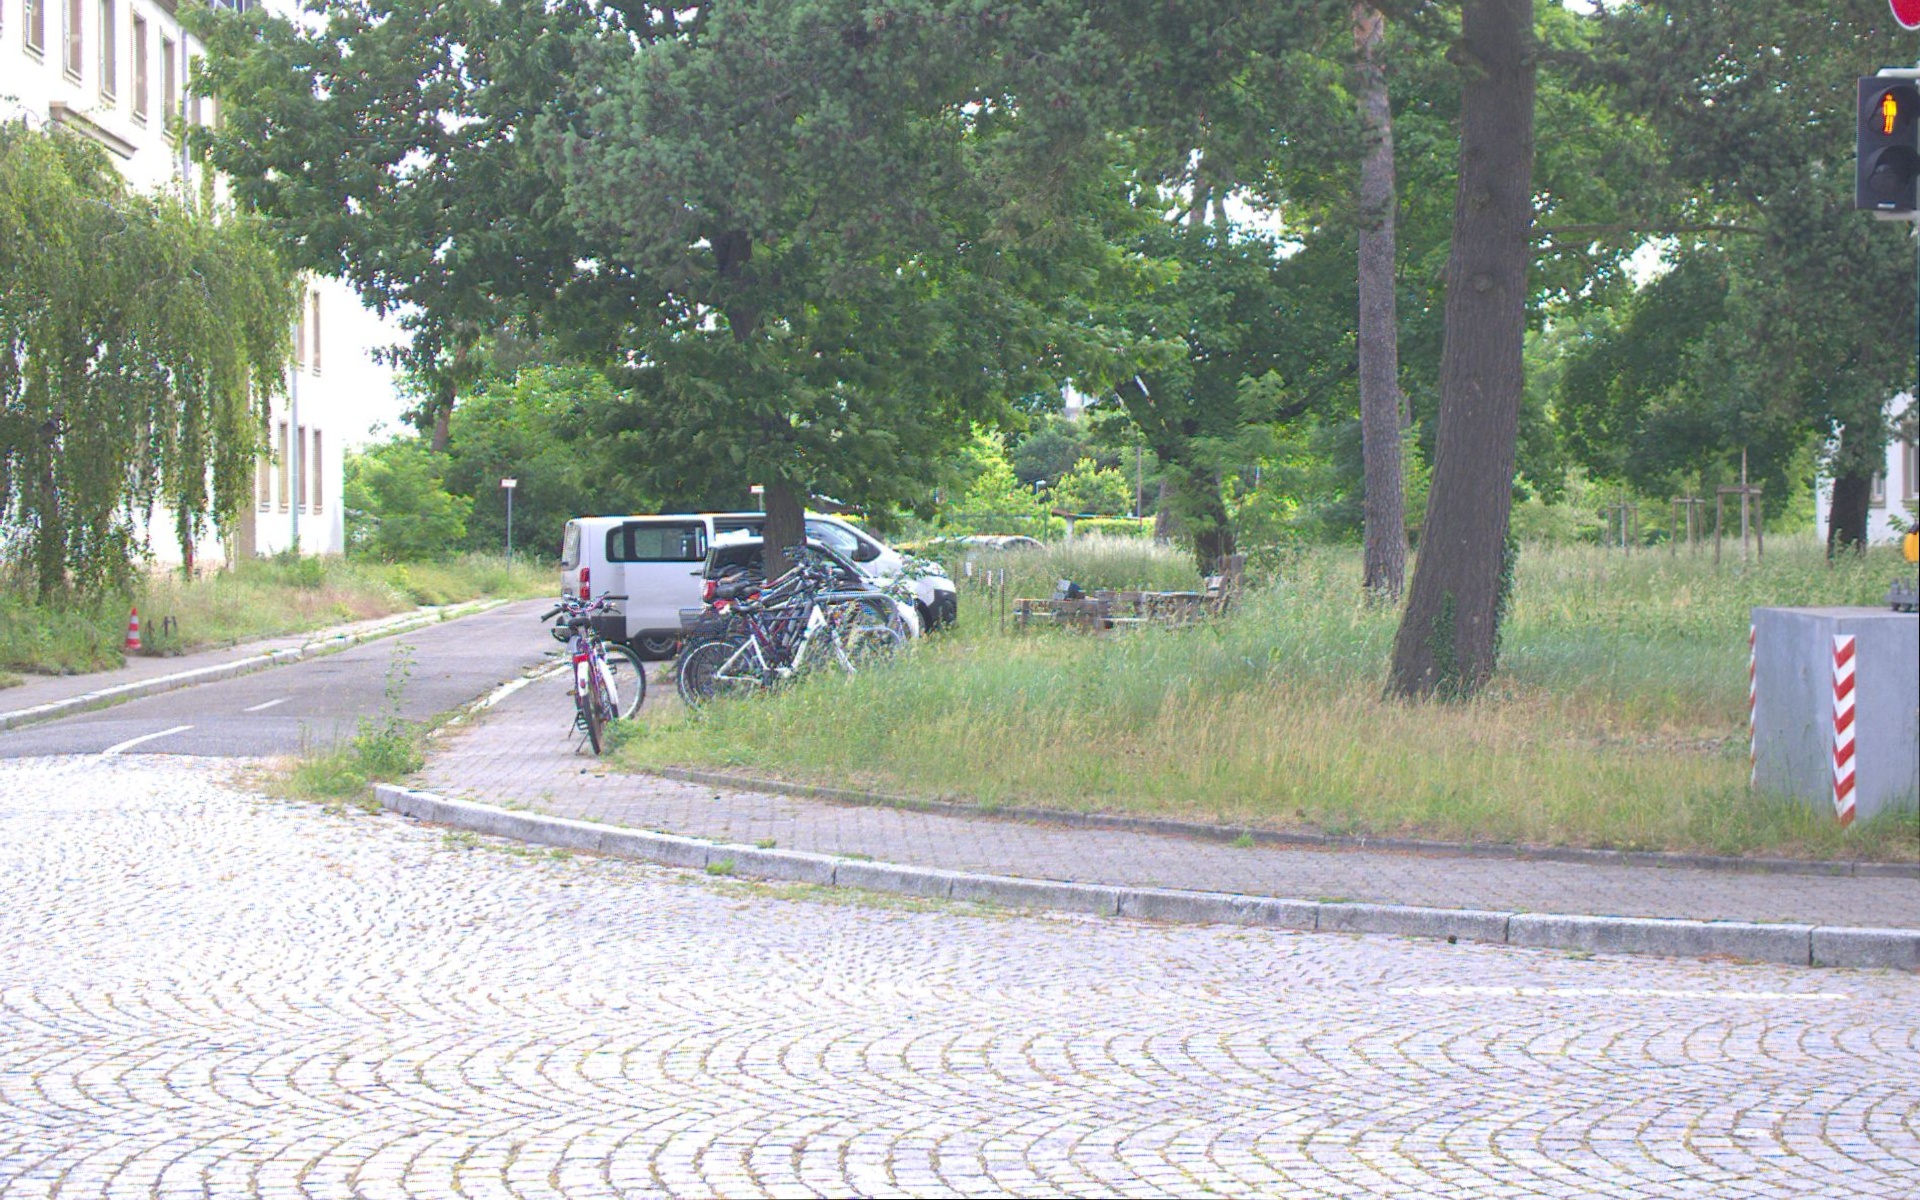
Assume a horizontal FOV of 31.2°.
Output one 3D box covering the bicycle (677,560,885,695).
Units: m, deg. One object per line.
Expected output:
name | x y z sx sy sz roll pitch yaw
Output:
bicycle | -1.761 0.262 33.766 1.982 1.243 0.624 -2 1 -4

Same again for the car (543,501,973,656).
car | -2.689 -0.307 45.516 5.303 1.909 2.150 -1 1 -17

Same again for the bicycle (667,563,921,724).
bicycle | -1.331 0.343 27.460 1.982 1.243 0.624 1 1 -4

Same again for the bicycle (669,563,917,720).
bicycle | -1.369 0.335 28.088 1.982 1.243 0.624 1 1 -4

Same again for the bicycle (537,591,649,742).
bicycle | -2.759 0.486 25.982 0.622 1.079 1.677 1 1 1

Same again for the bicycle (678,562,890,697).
bicycle | -1.674 0.277 32.615 1.982 1.243 0.624 1 1 -4

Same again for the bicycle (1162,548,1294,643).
bicycle | 3.212 -0.057 41.212 1.549 1.121 0.401 0 1 -1

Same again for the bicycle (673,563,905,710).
bicycle | -1.491 0.312 29.871 1.982 1.243 0.624 1 1 -4

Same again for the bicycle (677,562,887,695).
bicycle | -1.721 0.270 33.108 1.982 1.243 0.624 1 1 -4

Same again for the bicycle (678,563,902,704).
bicycle | -1.539 0.298 31.028 1.982 1.243 0.624 1 1 -4

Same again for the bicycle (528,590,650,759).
bicycle | -2.575 0.497 24.033 0.622 1.110 1.989 1 1 0

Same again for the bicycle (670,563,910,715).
bicycle | -1.439 0.323 29.012 1.982 1.243 0.624 1 1 -4

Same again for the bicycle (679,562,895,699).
bicycle | -1.621 0.284 32.104 1.982 1.243 0.624 1 1 -4

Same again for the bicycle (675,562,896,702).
bicycle | -1.598 0.292 31.430 1.982 1.243 0.624 1 1 -4

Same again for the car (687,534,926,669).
car | -1.877 0.000 42.074 2.847 1.552 1.472 -1 2 -3

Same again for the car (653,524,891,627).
car | -3.258 -0.430 59.395 4.031 1.712 1.681 0 1 -4

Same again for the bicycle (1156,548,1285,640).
bicycle | 3.216 -0.074 42.445 1.549 1.121 0.401 0 1 -1

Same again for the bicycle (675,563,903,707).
bicycle | -1.523 0.304 30.503 1.982 1.243 0.624 1 1 -4
